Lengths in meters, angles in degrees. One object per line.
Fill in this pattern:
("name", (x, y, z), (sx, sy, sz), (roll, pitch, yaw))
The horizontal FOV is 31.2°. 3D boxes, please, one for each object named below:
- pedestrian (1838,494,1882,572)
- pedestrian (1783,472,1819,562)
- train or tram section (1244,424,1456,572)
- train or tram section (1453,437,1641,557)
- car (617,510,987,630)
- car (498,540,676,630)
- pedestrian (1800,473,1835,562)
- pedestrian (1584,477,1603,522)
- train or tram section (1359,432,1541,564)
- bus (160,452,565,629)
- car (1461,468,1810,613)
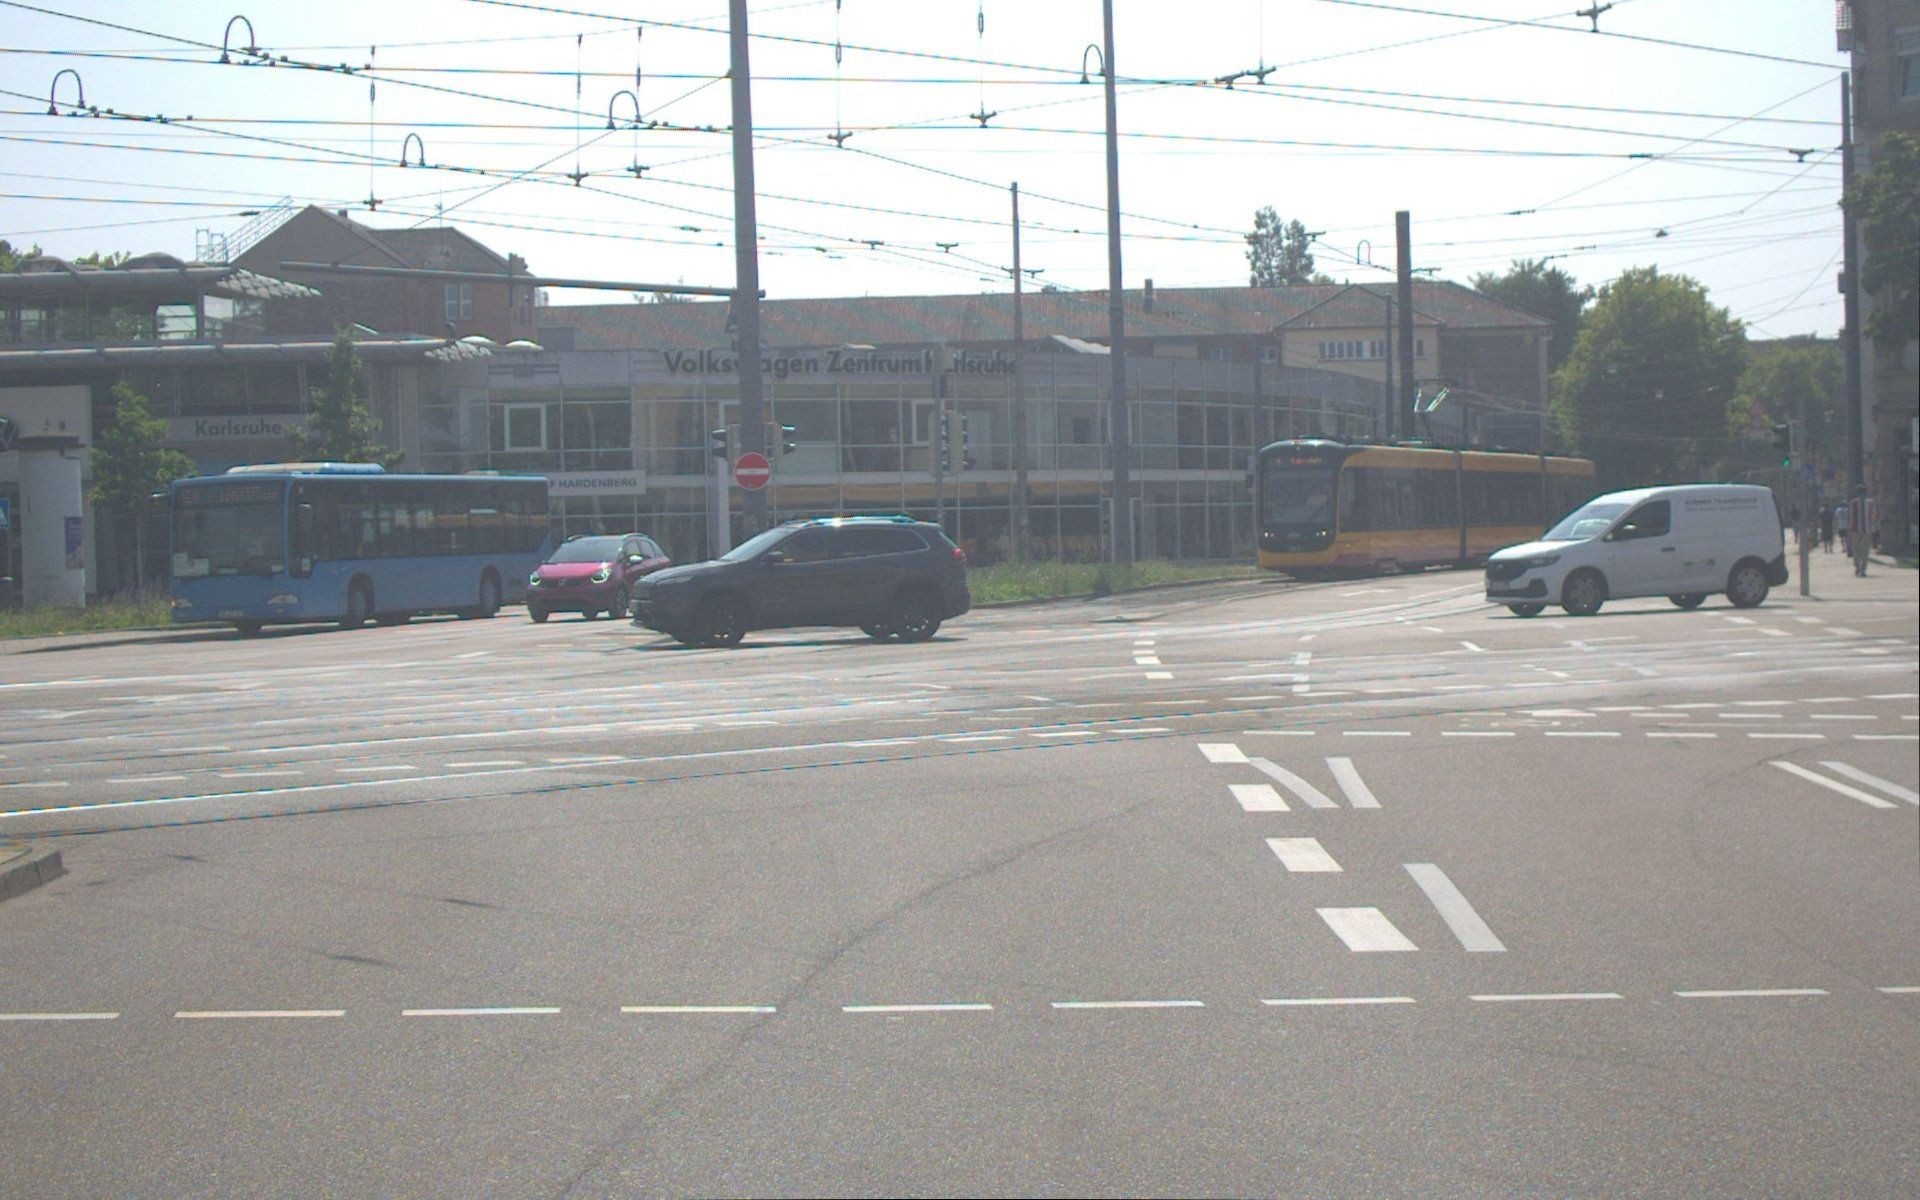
("pedestrian", (18.653, -1.384, 71.252), (0.699, 1.597, 0.573), (-1, 1, -8))
("pedestrian", (28.492, -2.808, 116.482), (0.983, 3.007, 0.974), (-1, 1, 6))
("train or tram section", (10.069, -2.572, 87.579), (2.591, 3.504, 10.887), (-1, 1, 22))
("train or tram section", (18.494, -3.190, 107.463), (2.591, 3.504, 12.956), (-1, 1, 24))
("car", (-2.152, -0.426, 46.734), (4.609, 1.499, 2.001), (-1, 1, -20))
("car", (-6.833, -0.297, 63.353), (1.751, 1.546, 3.997), (-1, 1, 18))
("pedestrian", (29.468, -2.830, 118.169), (0.983, 3.007, 0.974), (-1, 1, 6))
("pedestrian", (28.944, -4.587, 157.005), (0.729, 2.007, 0.669), (-1, 1, 17))
("train or tram section", (13.957, -2.870, 97.170), (2.591, 3.504, 9.647), (-1, 1, 23))
("bus", (-11.264, -1.181, 66.616), (2.564, 3.072, 12.014), (-1, 1, 17))
("car", (9.881, -0.887, 50.359), (4.609, 2.007, 2.001), (-1, 1, -19))
